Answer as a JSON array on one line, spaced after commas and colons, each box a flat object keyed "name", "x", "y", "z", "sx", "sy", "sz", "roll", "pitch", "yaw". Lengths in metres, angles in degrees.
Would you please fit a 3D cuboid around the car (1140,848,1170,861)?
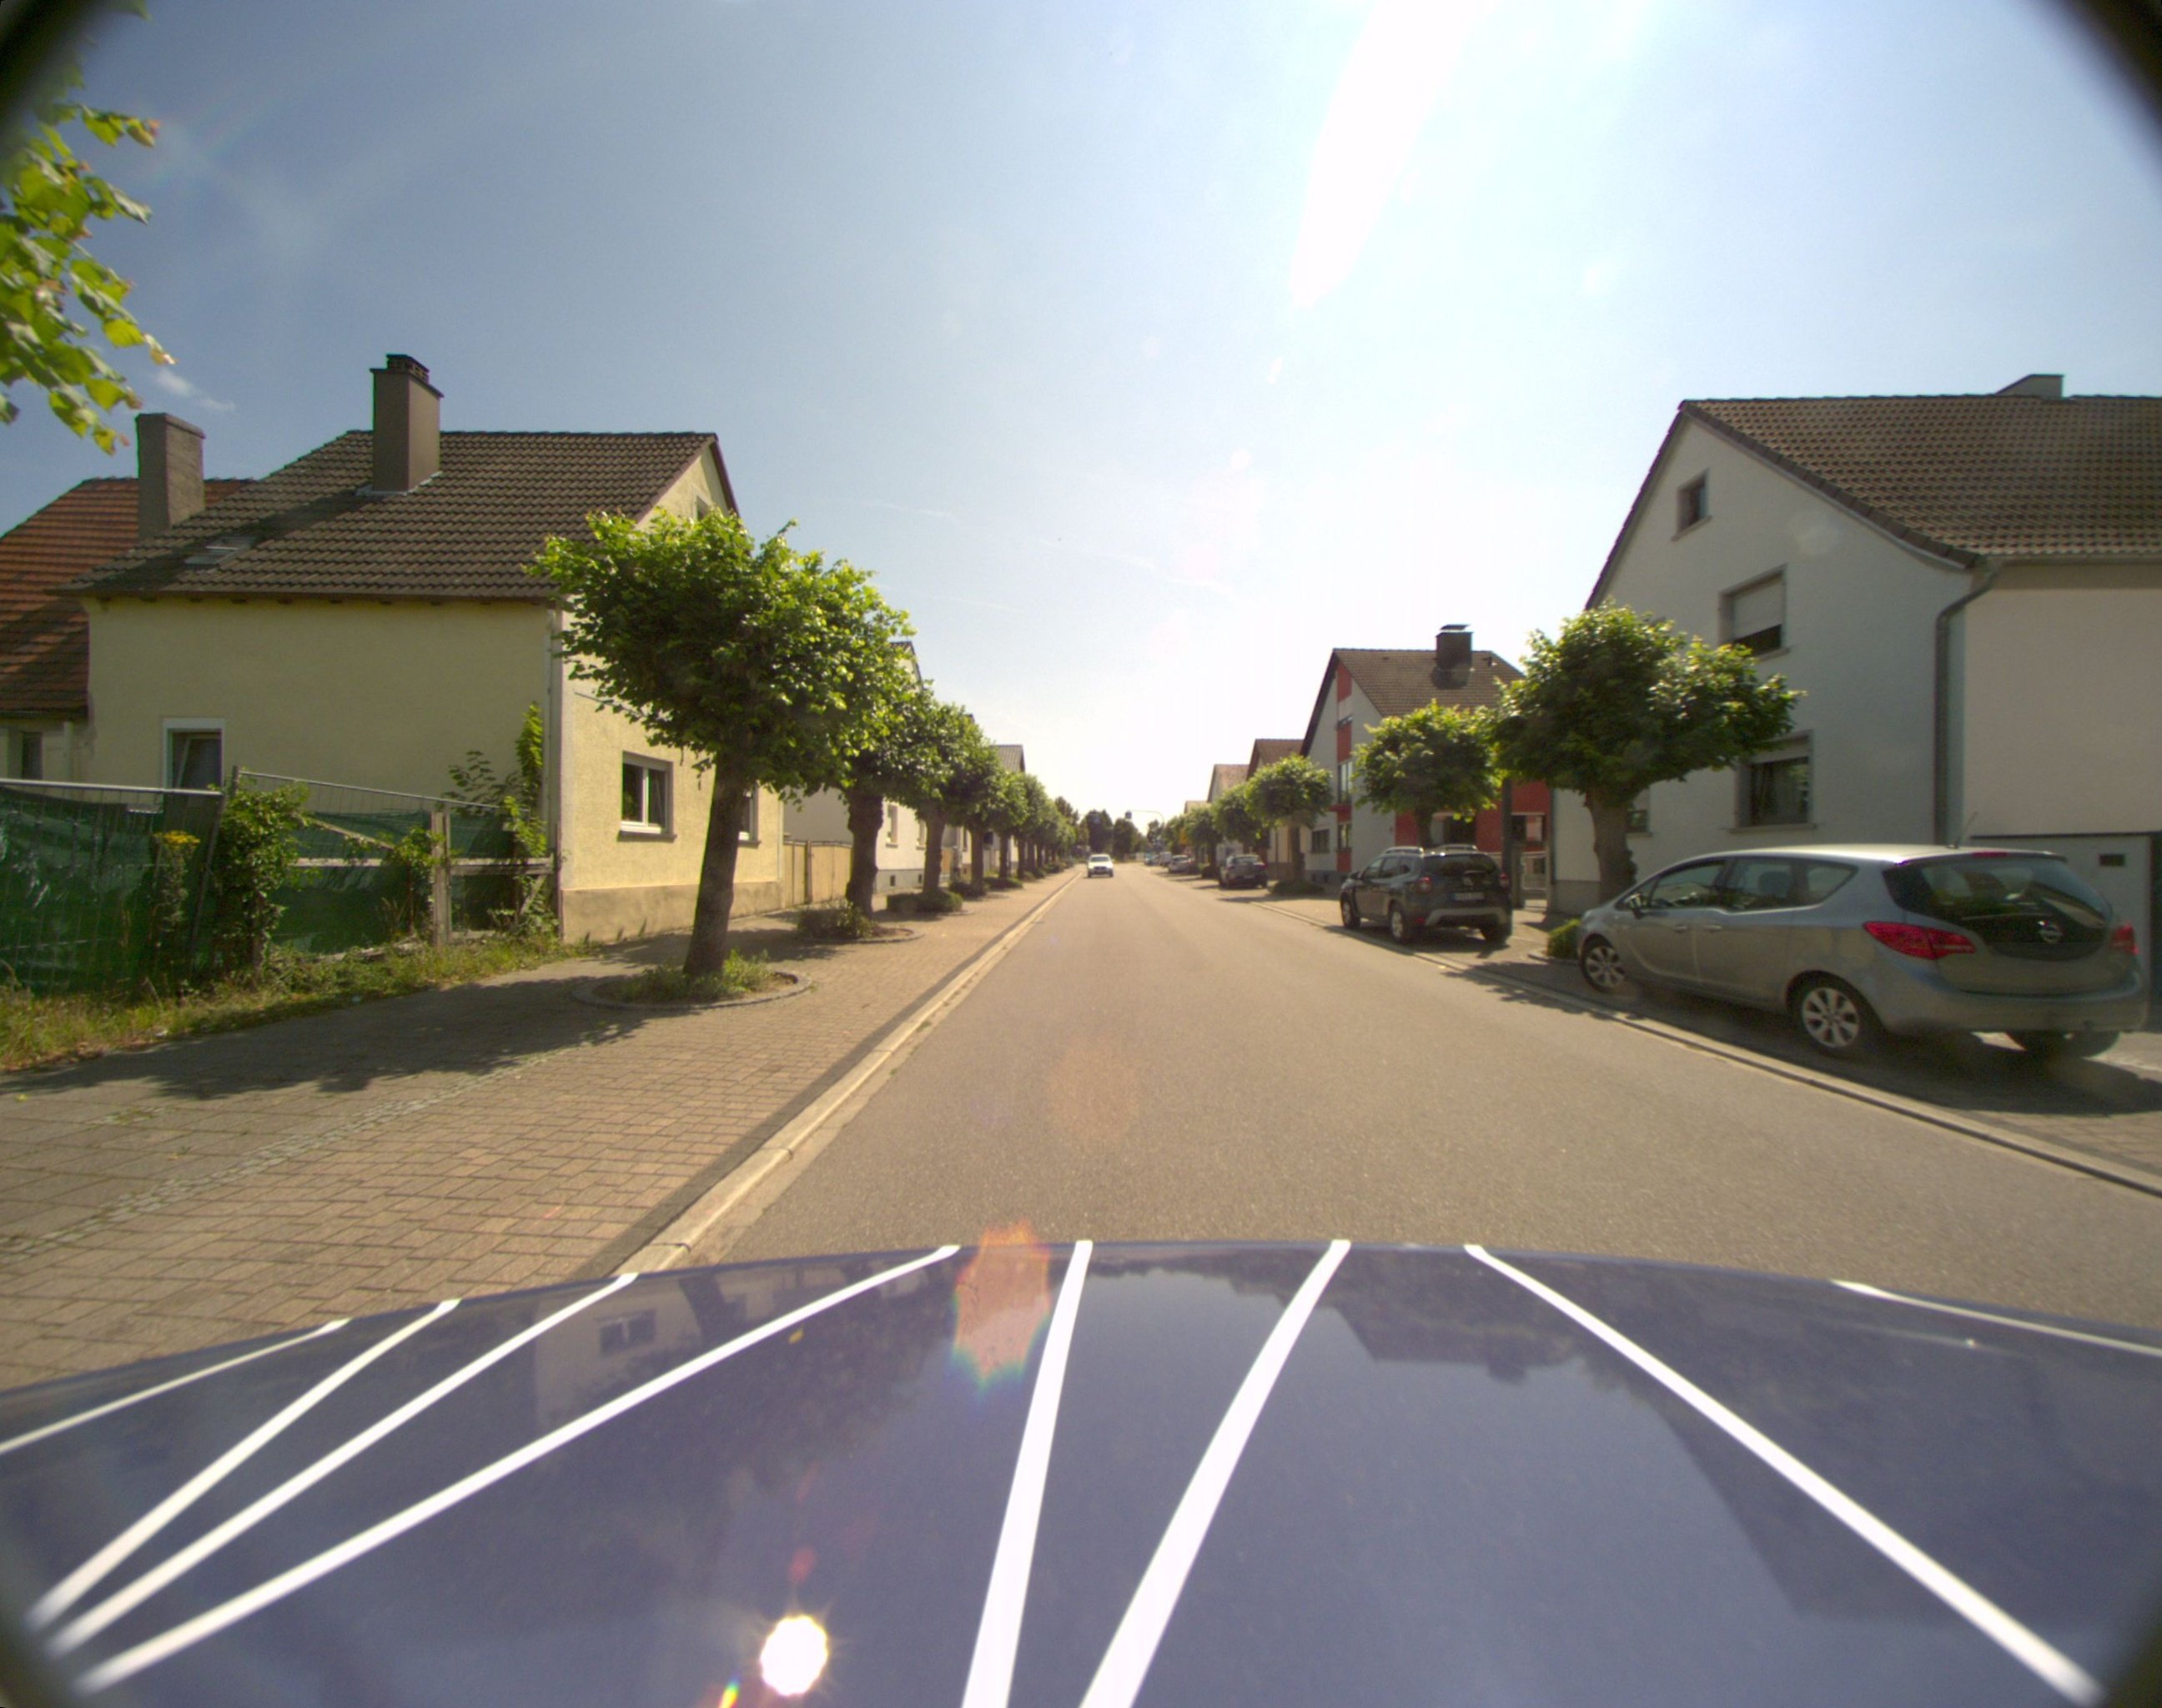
[{"name": "car", "x": 11.189, "y": 0.098, "z": 115.368, "sx": 4.251, "sy": 1.709, "sz": 1.945, "roll": -2, "pitch": 1, "yaw": -4}]

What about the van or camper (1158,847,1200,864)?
[{"name": "van or camper", "x": 11.700, "y": 0.147, "z": 91.100, "sx": 4.752, "sy": 1.851, "sz": 2.000, "roll": -2, "pitch": 0, "yaw": 1}]

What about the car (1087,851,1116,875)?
[{"name": "car", "x": 1.468, "y": 0.602, "z": 53.619, "sx": 1.857, "sy": 1.603, "sz": 4.135, "roll": -2, "pitch": 0, "yaw": 3}]

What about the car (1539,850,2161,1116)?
[{"name": "car", "x": 6.425, "y": 0.806, "z": 6.973, "sx": 1.857, "sy": 1.604, "sz": 4.370, "roll": -2, "pitch": 1, "yaw": 1}]

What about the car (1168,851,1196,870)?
[{"name": "car", "x": 8.351, "y": 0.544, "z": 63.239, "sx": 1.829, "sy": 1.474, "sz": 4.132, "roll": -2, "pitch": 0, "yaw": 2}]

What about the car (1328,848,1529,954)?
[{"name": "car", "x": 6.284, "y": 0.775, "z": 14.356, "sx": 1.857, "sy": 1.626, "sz": 4.300, "roll": -3, "pitch": -1, "yaw": 1}]

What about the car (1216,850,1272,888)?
[{"name": "car", "x": 7.463, "y": 0.655, "z": 35.148, "sx": 1.857, "sy": 1.603, "sz": 4.135, "roll": -2, "pitch": 0, "yaw": 3}]
